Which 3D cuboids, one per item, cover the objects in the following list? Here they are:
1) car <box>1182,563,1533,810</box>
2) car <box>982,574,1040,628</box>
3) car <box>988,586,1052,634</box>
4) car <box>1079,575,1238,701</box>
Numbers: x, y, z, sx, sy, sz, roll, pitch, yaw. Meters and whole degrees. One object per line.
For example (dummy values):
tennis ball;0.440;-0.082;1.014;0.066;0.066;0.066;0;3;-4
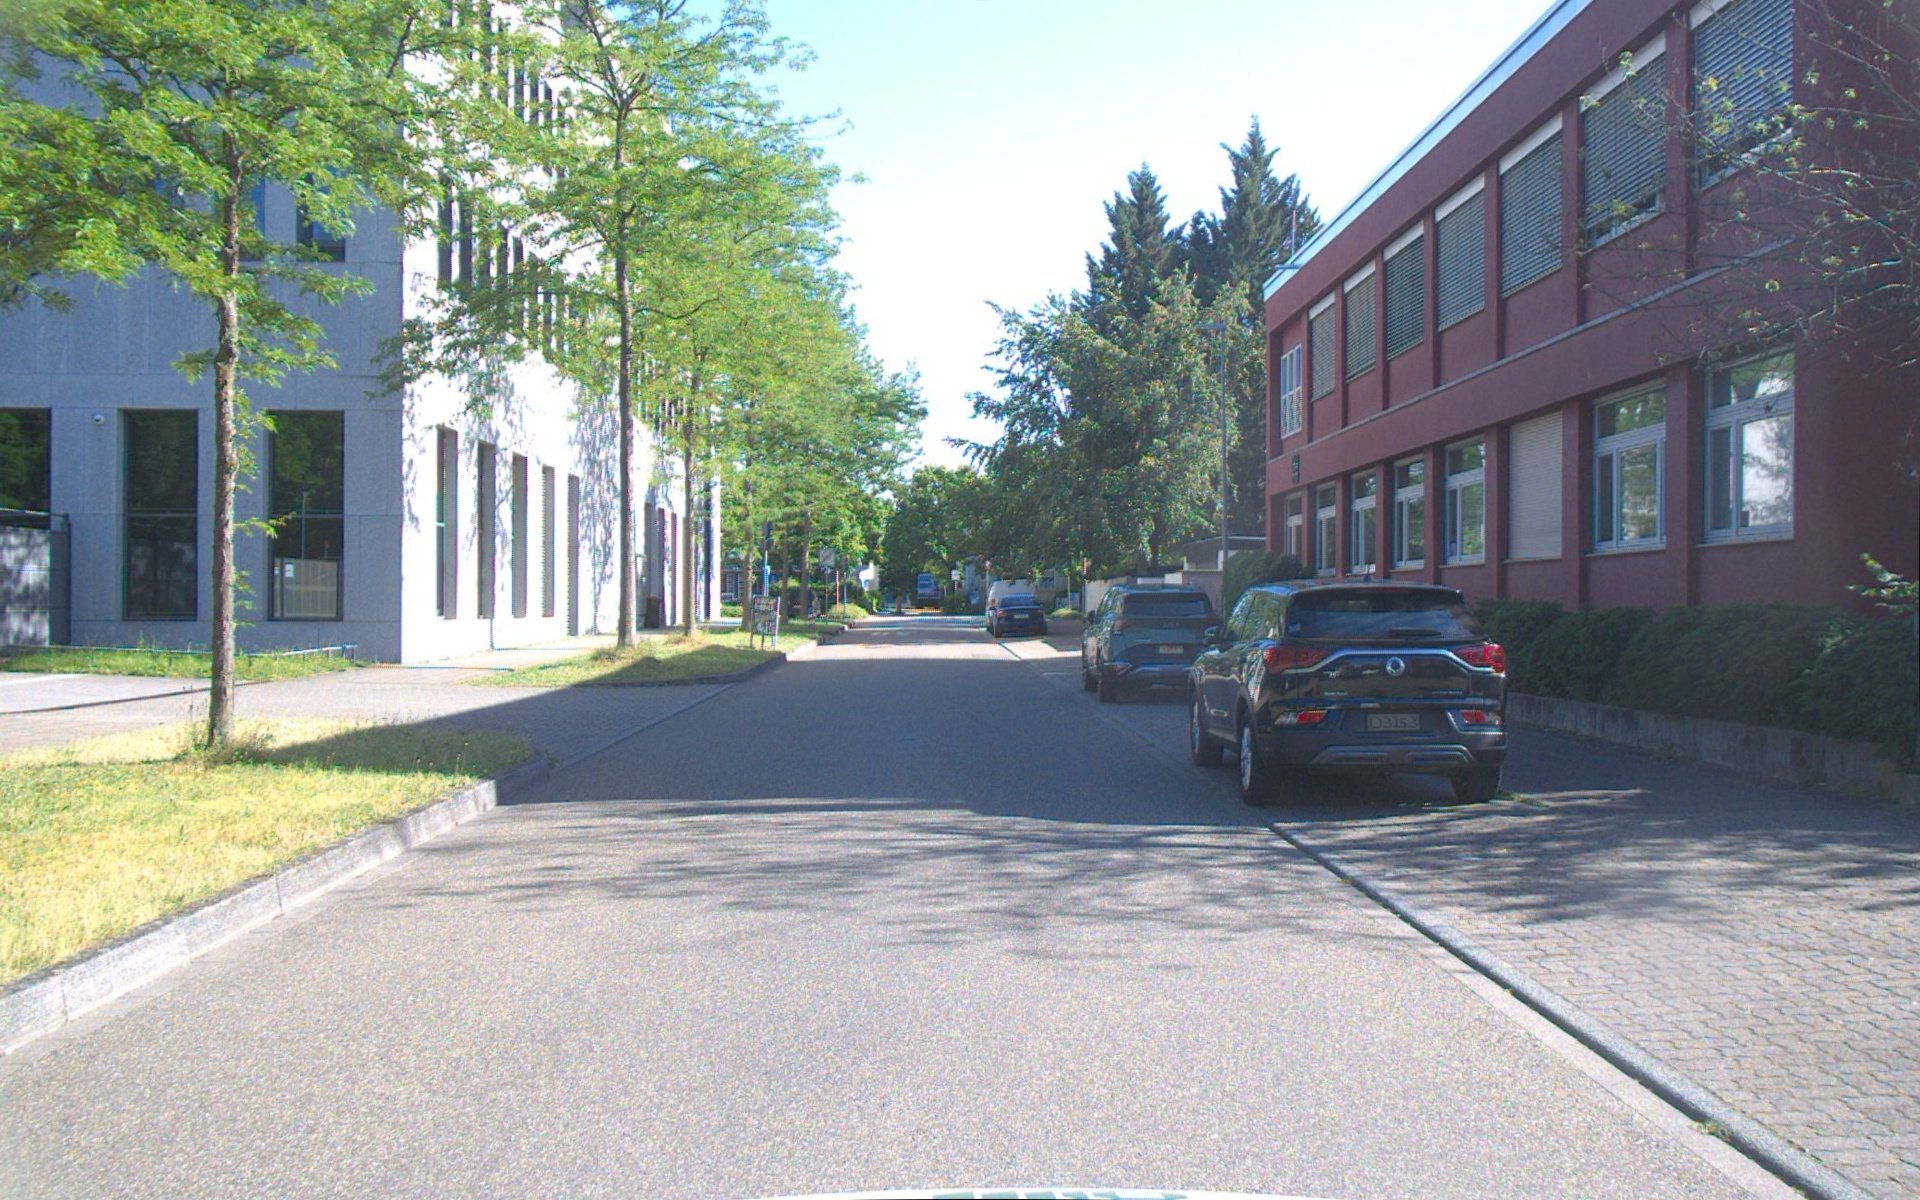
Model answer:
car;2.965;0.576;13.263;1.800;1.662;4.201;0;0;0
car;1.915;0.039;62.762;1.953;1.866;4.000;-3;0;-1
car;2.020;0.324;56.966;1.953;1.467;4.000;-3;0;-1
car;2.833;0.527;24.361;1.817;1.677;3.999;-1;0;-1
